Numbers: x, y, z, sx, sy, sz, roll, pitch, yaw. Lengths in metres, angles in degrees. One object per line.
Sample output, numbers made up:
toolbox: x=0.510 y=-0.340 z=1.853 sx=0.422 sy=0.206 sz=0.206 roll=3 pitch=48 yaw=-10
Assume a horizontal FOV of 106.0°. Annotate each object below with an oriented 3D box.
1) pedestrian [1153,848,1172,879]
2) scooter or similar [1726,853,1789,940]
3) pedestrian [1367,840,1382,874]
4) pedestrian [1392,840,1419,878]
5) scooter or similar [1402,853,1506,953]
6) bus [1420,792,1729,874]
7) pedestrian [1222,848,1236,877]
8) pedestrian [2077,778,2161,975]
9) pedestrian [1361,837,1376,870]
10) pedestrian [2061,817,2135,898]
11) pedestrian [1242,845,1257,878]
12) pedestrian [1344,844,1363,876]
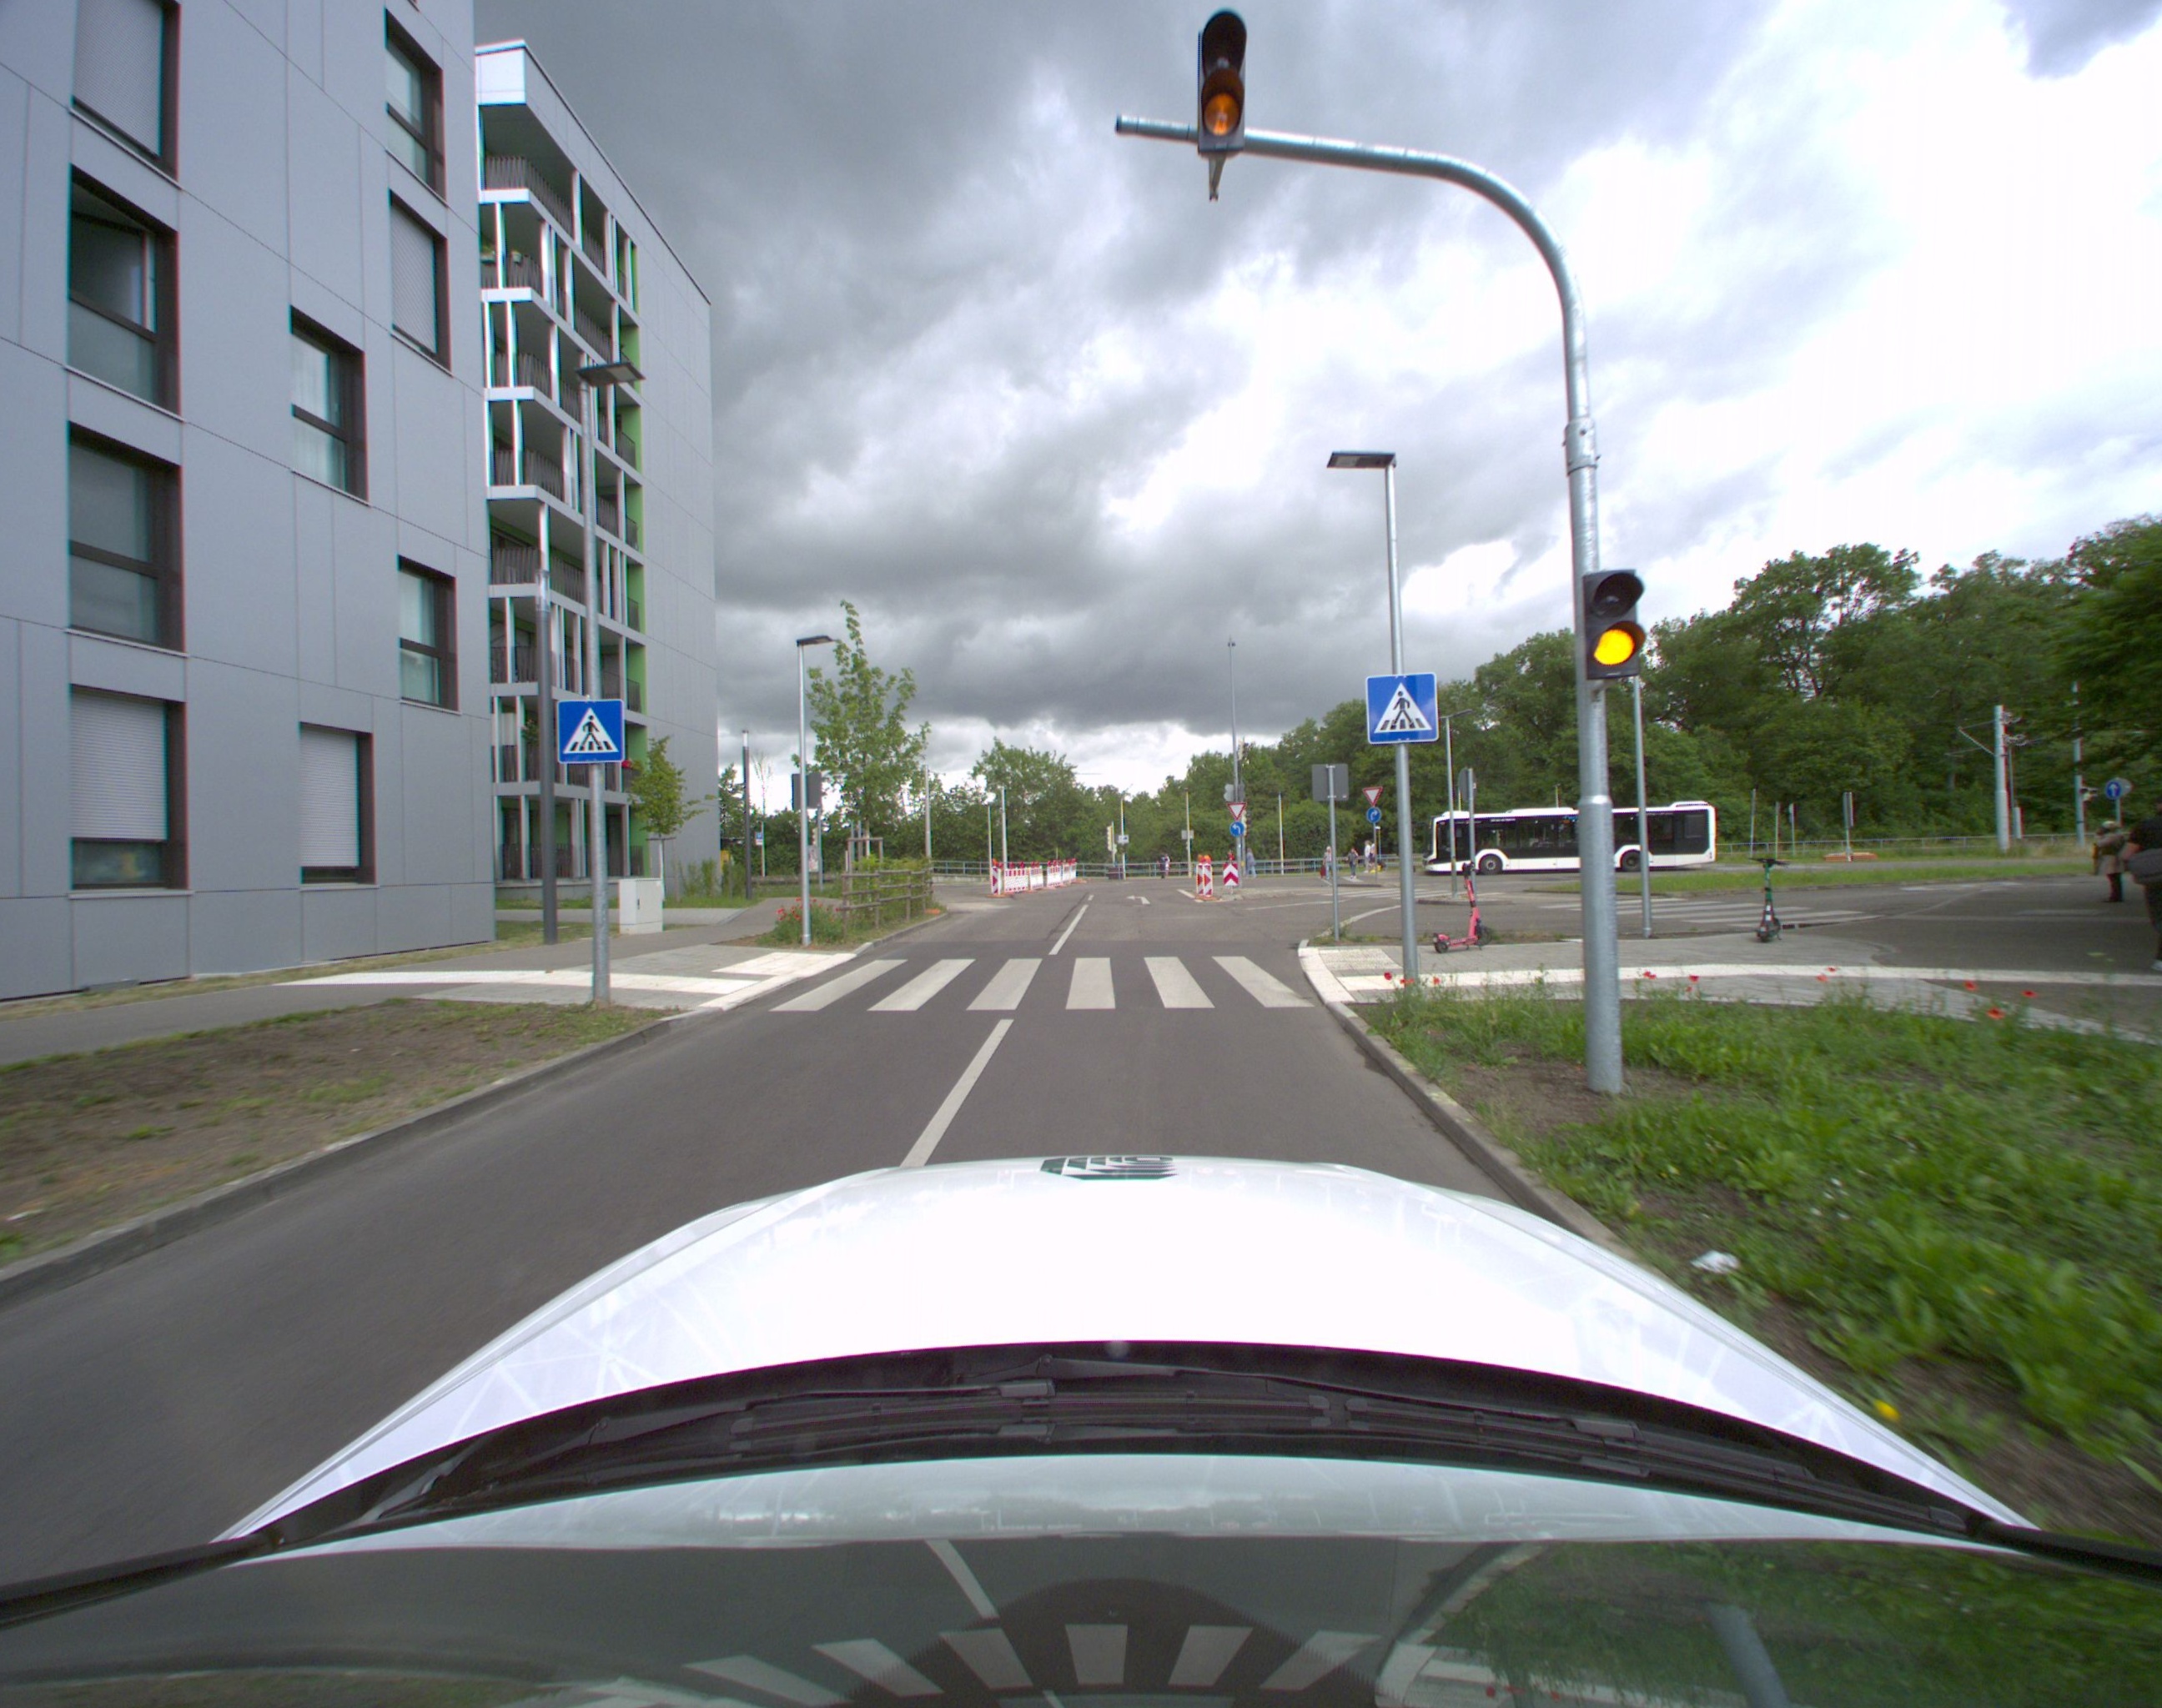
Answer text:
pedestrian: x=4.669 y=0.546 z=46.869 sx=0.953 sy=1.748 sz=0.721 roll=-1 pitch=-1 yaw=-6
scooter or similar: x=10.533 y=0.630 z=12.665 sx=0.614 sy=1.275 sz=1.504 roll=-2 pitch=-2 yaw=44
pedestrian: x=15.430 y=0.169 z=42.842 sx=0.714 sy=1.748 sz=0.962 roll=-2 pitch=-1 yaw=19
pedestrian: x=15.052 y=0.230 z=37.719 sx=0.945 sy=1.747 sz=1.069 roll=-2 pitch=-1 yaw=32
scooter or similar: x=5.341 y=0.667 z=11.648 sx=1.530 sy=1.313 sz=0.567 roll=-1 pitch=-1 yaw=-31
bus: x=22.695 y=-0.899 z=38.318 sx=12.072 sy=3.203 sz=2.685 roll=-2 pitch=-1 yaw=14
pedestrian: x=8.267 y=0.464 z=45.427 sx=0.715 sy=1.621 sz=0.808 roll=-1 pitch=-1 yaw=13
pedestrian: x=10.428 y=0.203 z=7.806 sx=0.986 sy=1.822 sz=0.850 roll=-1 pitch=-1 yaw=-24
pedestrian: x=15.550 y=-0.039 z=44.036 sx=0.714 sy=1.748 sz=0.962 roll=-2 pitch=-1 yaw=19
pedestrian: x=20.605 y=0.075 z=16.501 sx=0.771 sy=1.594 sz=0.682 roll=-1 pitch=-1 yaw=-19
pedestrian: x=9.063 y=0.398 z=43.801 sx=0.715 sy=1.748 sz=0.961 roll=-1 pitch=-1 yaw=13
pedestrian: x=13.339 y=0.291 z=39.825 sx=0.683 sy=1.567 sz=0.737 roll=-2 pitch=-1 yaw=32
